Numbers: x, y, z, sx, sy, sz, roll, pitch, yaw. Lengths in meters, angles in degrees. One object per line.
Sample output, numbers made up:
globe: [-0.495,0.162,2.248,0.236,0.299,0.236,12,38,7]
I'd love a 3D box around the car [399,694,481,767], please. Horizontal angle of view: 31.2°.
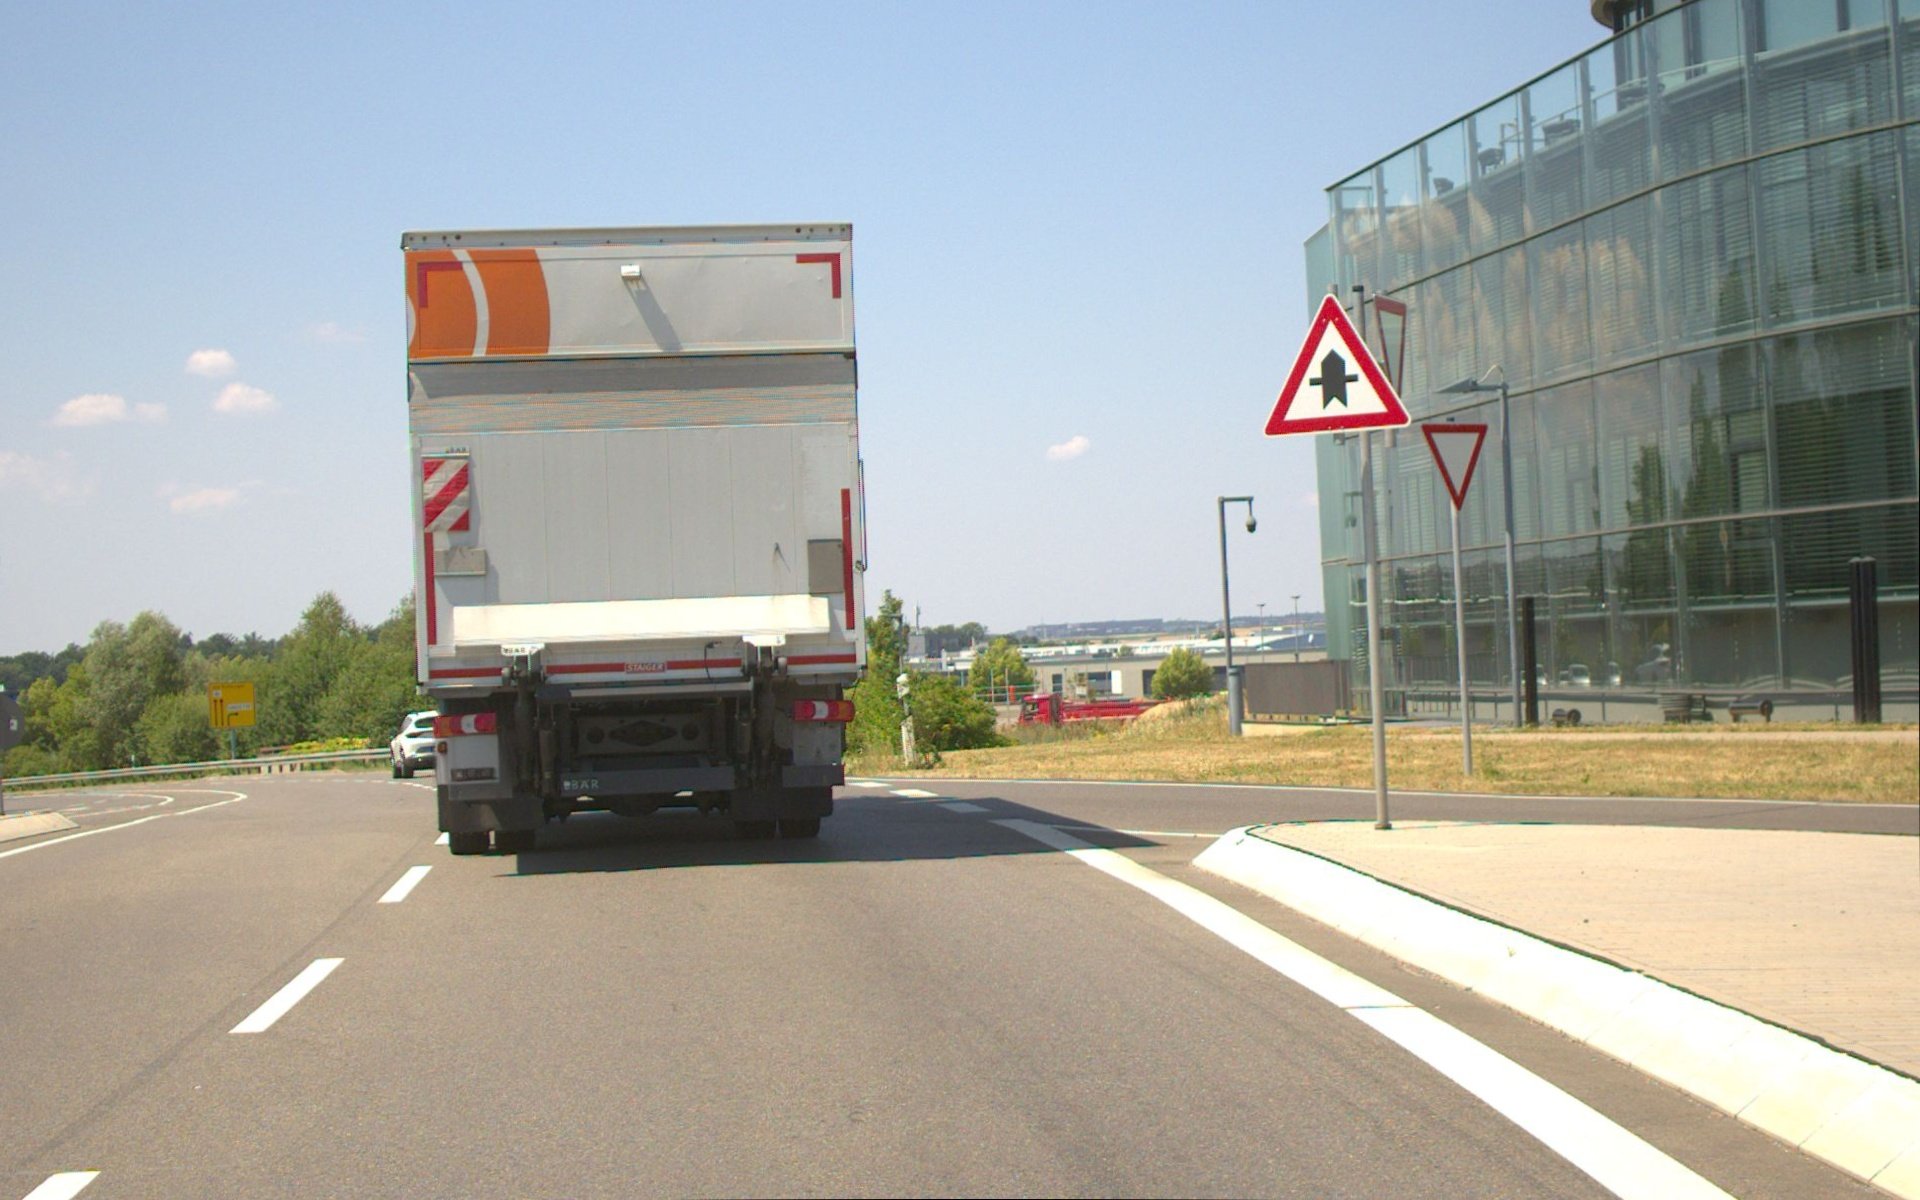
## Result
car: [-12.170,3.027,80.331,1.802,1.551,4.001,-1,0,-10]

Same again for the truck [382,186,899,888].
truck: [-2.311,-0.360,23.841,2.769,3.846,9.372,-2,0,-7]

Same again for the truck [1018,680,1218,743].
truck: [8.426,5.935,183.331,10.372,3.208,2.454,-1,0,19]

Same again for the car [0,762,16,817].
car: [-38.365,7.496,135.839,1.802,1.964,4.001,-1,0,-19]
